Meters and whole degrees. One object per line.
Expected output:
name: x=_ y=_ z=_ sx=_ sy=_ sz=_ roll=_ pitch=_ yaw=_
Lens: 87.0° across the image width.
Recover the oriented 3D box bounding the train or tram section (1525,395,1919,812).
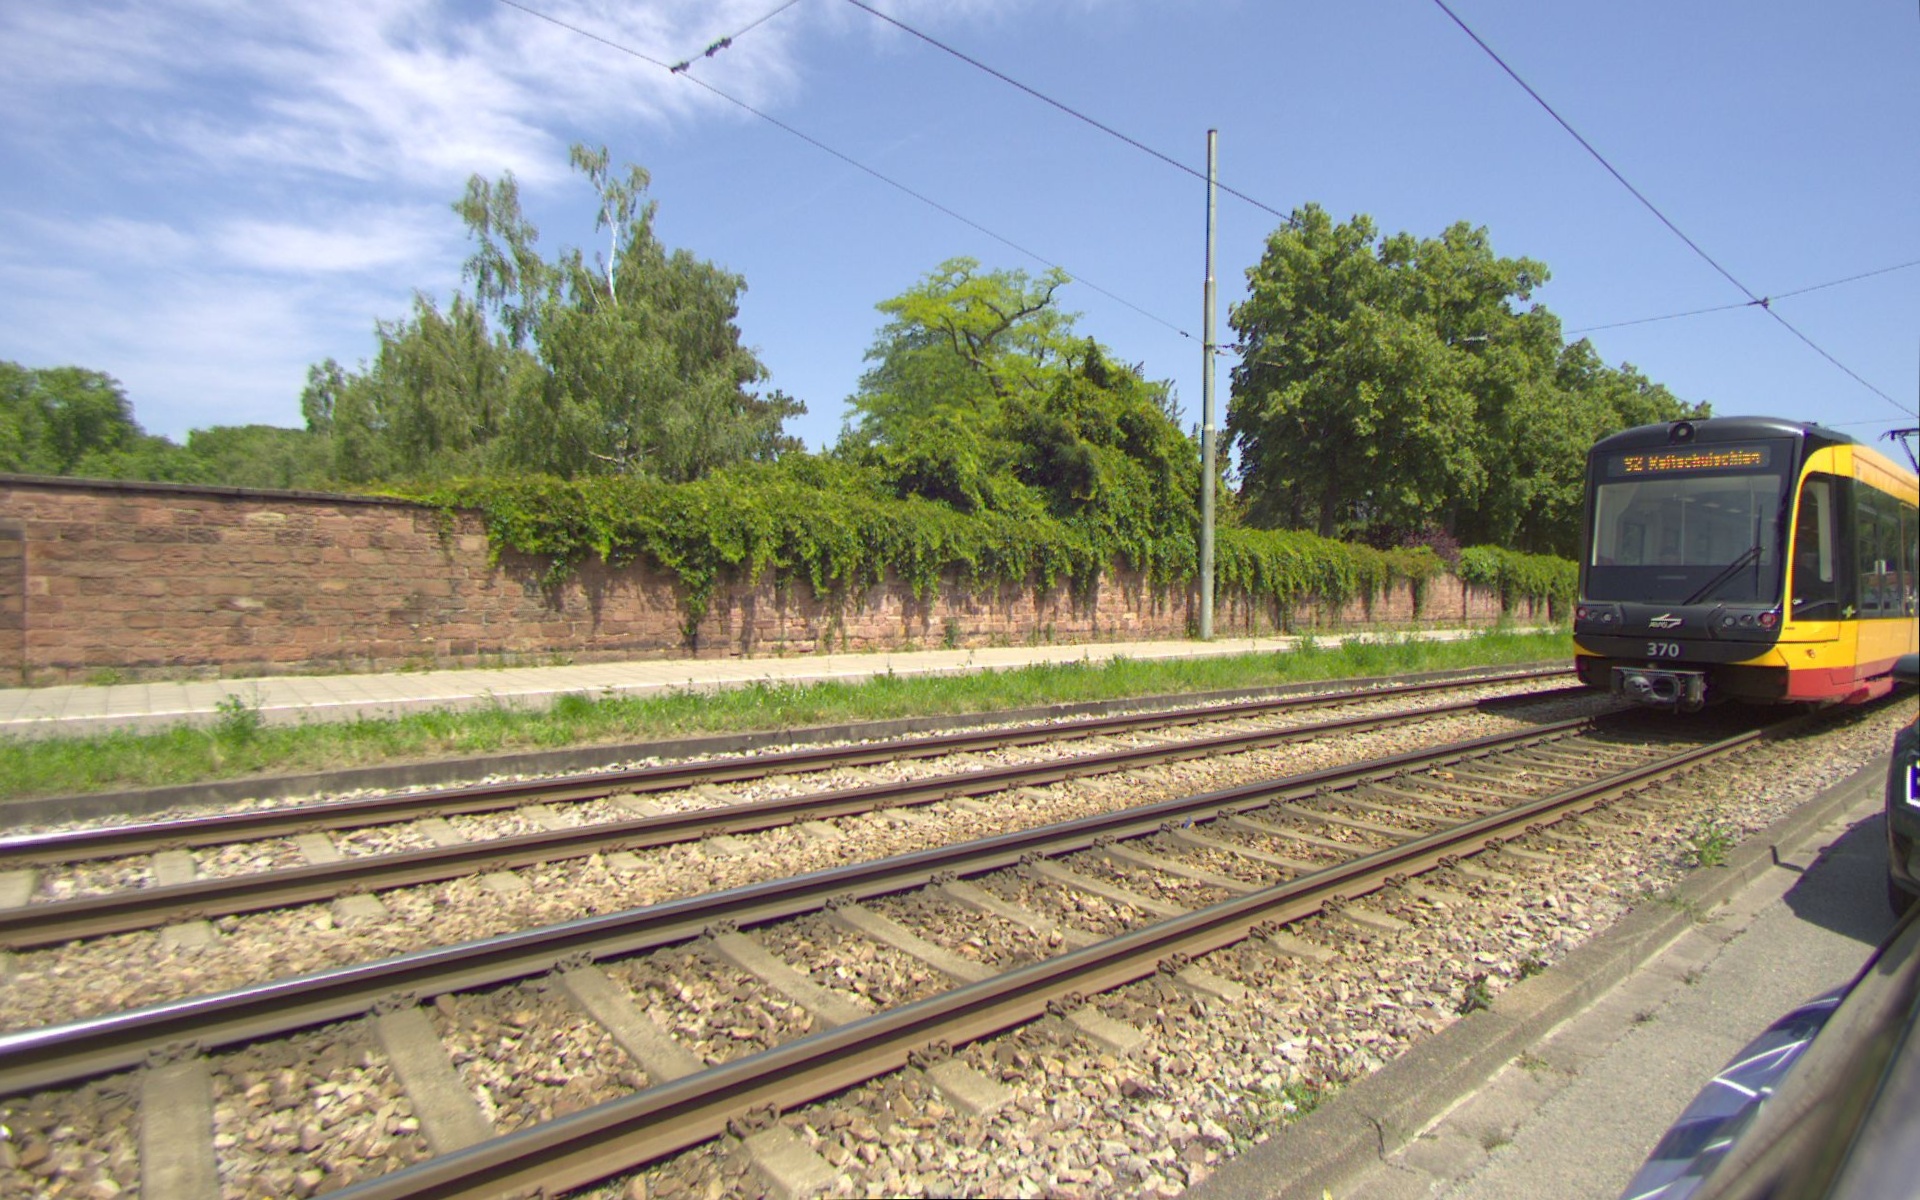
train or tram section: x=12.626 y=-0.046 z=15.033 sx=14.013 sy=3.855 sz=2.811 roll=-1 pitch=0 yaw=-41

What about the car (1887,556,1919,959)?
car: x=5.972 y=0.629 z=4.862 sx=4.349 sy=1.603 sz=1.757 roll=0 pitch=0 yaw=-41

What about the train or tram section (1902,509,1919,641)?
train or tram section: x=33.960 y=-0.791 z=33.248 sx=14.010 sy=3.856 sz=2.782 roll=-1 pitch=0 yaw=-40

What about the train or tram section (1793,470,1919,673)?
train or tram section: x=23.282 y=-0.612 z=24.149 sx=14.010 sy=3.859 sz=2.782 roll=-1 pitch=0 yaw=-40
